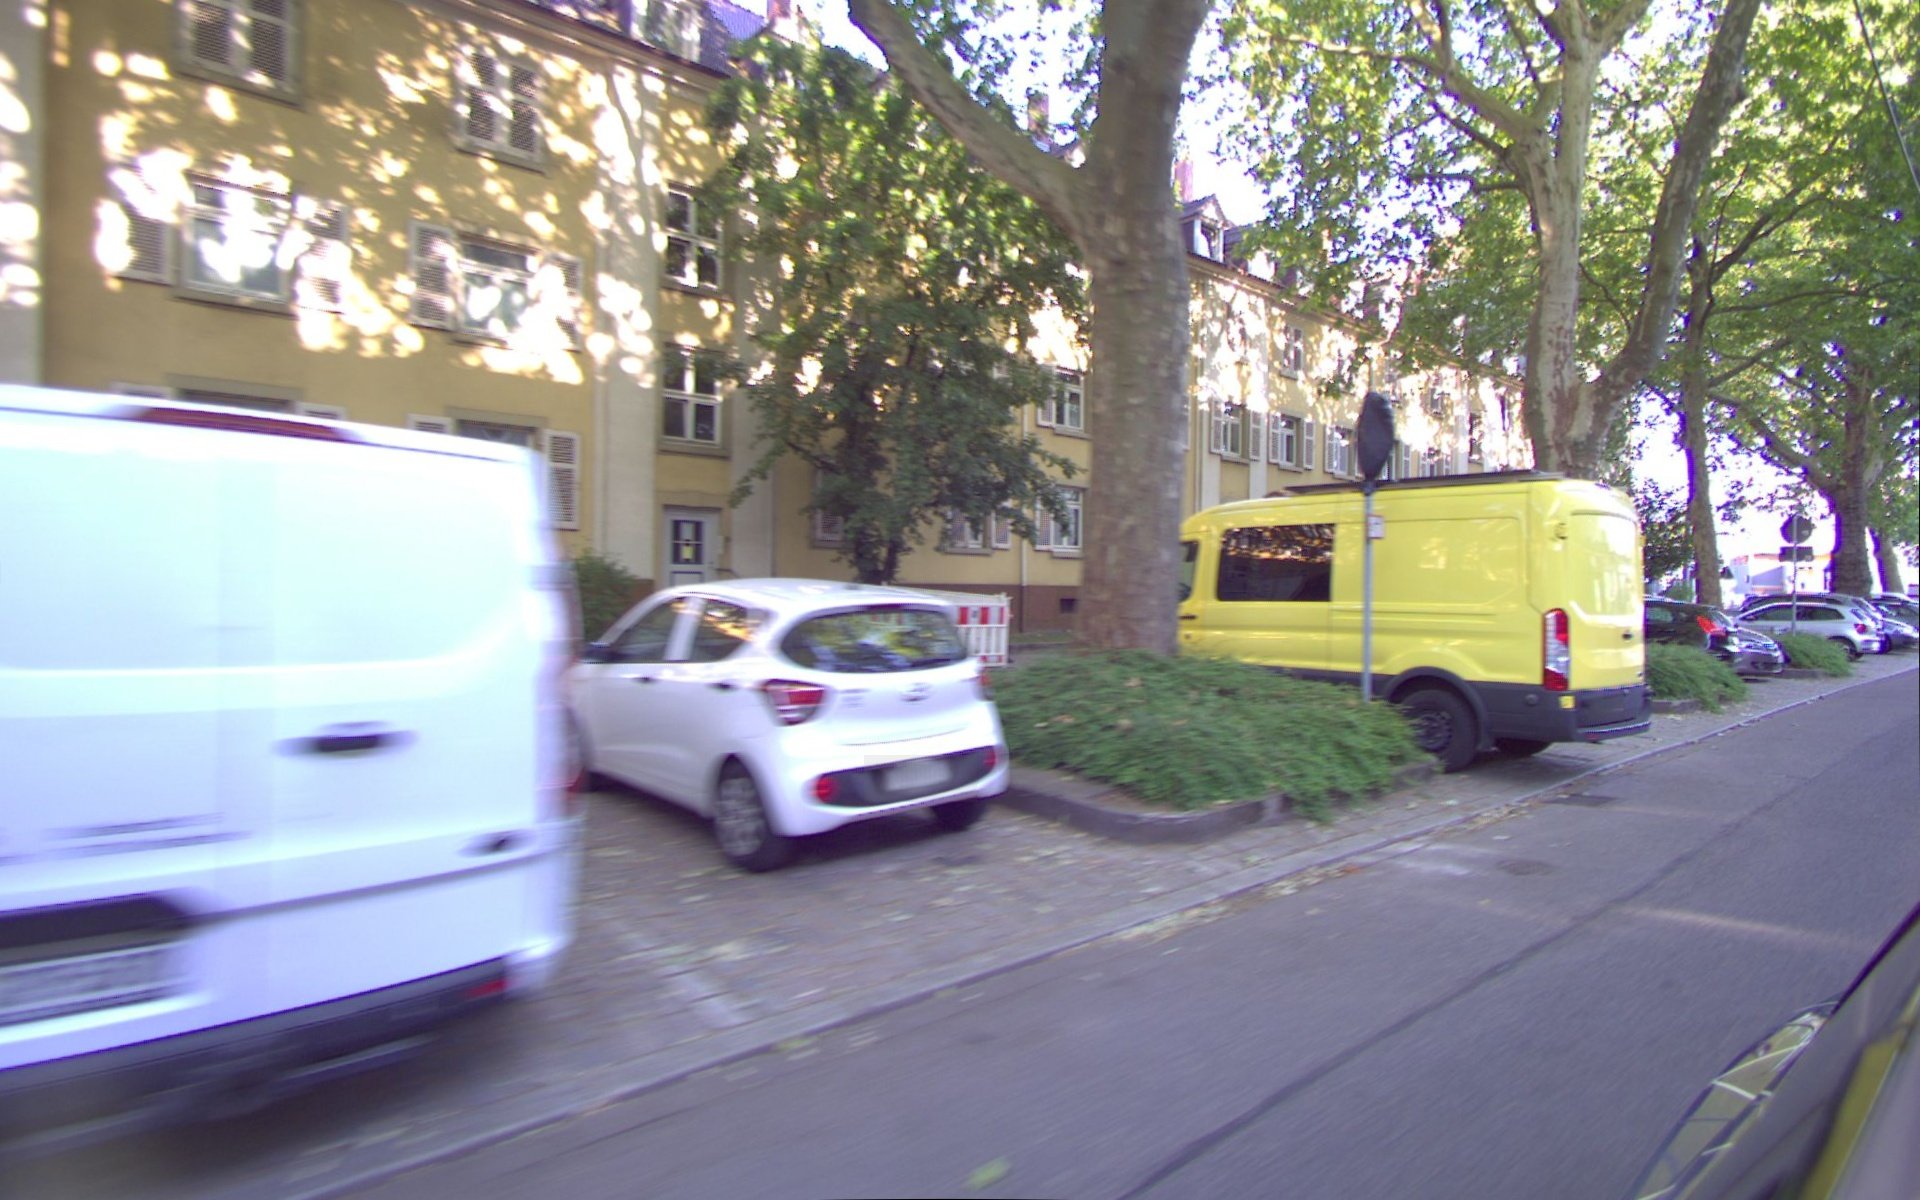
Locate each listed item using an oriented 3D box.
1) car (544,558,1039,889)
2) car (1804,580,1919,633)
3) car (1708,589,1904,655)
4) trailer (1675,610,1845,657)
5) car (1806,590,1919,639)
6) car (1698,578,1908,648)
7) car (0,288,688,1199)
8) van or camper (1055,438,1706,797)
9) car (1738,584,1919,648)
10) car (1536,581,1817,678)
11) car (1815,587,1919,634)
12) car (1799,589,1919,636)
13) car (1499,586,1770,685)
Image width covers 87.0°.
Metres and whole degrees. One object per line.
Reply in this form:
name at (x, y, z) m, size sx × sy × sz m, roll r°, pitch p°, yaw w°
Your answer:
car at (-1.257, 0.547, 6.560) m, size 1.669 × 1.559 × 3.309 m, roll 0°, pitch 1°, yaw -42°
car at (36.855, 0.247, 39.989) m, size 1.881 × 1.878 × 5.124 m, roll -1°, pitch 3°, yaw -40°
car at (22.351, 0.530, 26.832) m, size 1.832 × 1.441 × 3.661 m, roll 1°, pitch 3°, yaw -39°
trailer at (20.107, 0.805, 25.523) m, size 1.409 × 0.914 × 3.052 m, roll 0°, pitch 3°, yaw -34°
car at (31.440, 0.472, 34.428) m, size 1.712 × 1.516 × 3.886 m, roll 0°, pitch 2°, yaw -43°
car at (24.315, 0.327, 29.344) m, size 1.806 × 1.753 × 4.323 m, roll 1°, pitch 2°, yaw -36°
car at (-3.123, 0.347, 4.112) m, size 2.027 × 2.038 × 4.844 m, roll 0°, pitch 1°, yaw -40°
van or camper at (3.838, 0.030, 10.535) m, size 2.229 × 2.661 × 5.941 m, roll -1°, pitch 2°, yaw -38°
car at (26.381, 0.412, 30.427) m, size 1.875 × 1.678 × 4.433 m, roll 0°, pitch 2°, yaw -42°
car at (13.609, 0.463, 19.415) m, size 1.798 × 1.569 × 4.085 m, roll 0°, pitch 2°, yaw -41°
car at (35.026, 0.377, 38.236) m, size 1.764 × 1.625 × 3.882 m, roll 0°, pitch 2°, yaw -41°
car at (33.286, 0.441, 36.462) m, size 1.785 × 1.542 × 4.410 m, roll 1°, pitch 2°, yaw -40°
car at (11.740, 0.534, 17.765) m, size 1.708 × 1.444 × 3.657 m, roll 0°, pitch 2°, yaw -44°
